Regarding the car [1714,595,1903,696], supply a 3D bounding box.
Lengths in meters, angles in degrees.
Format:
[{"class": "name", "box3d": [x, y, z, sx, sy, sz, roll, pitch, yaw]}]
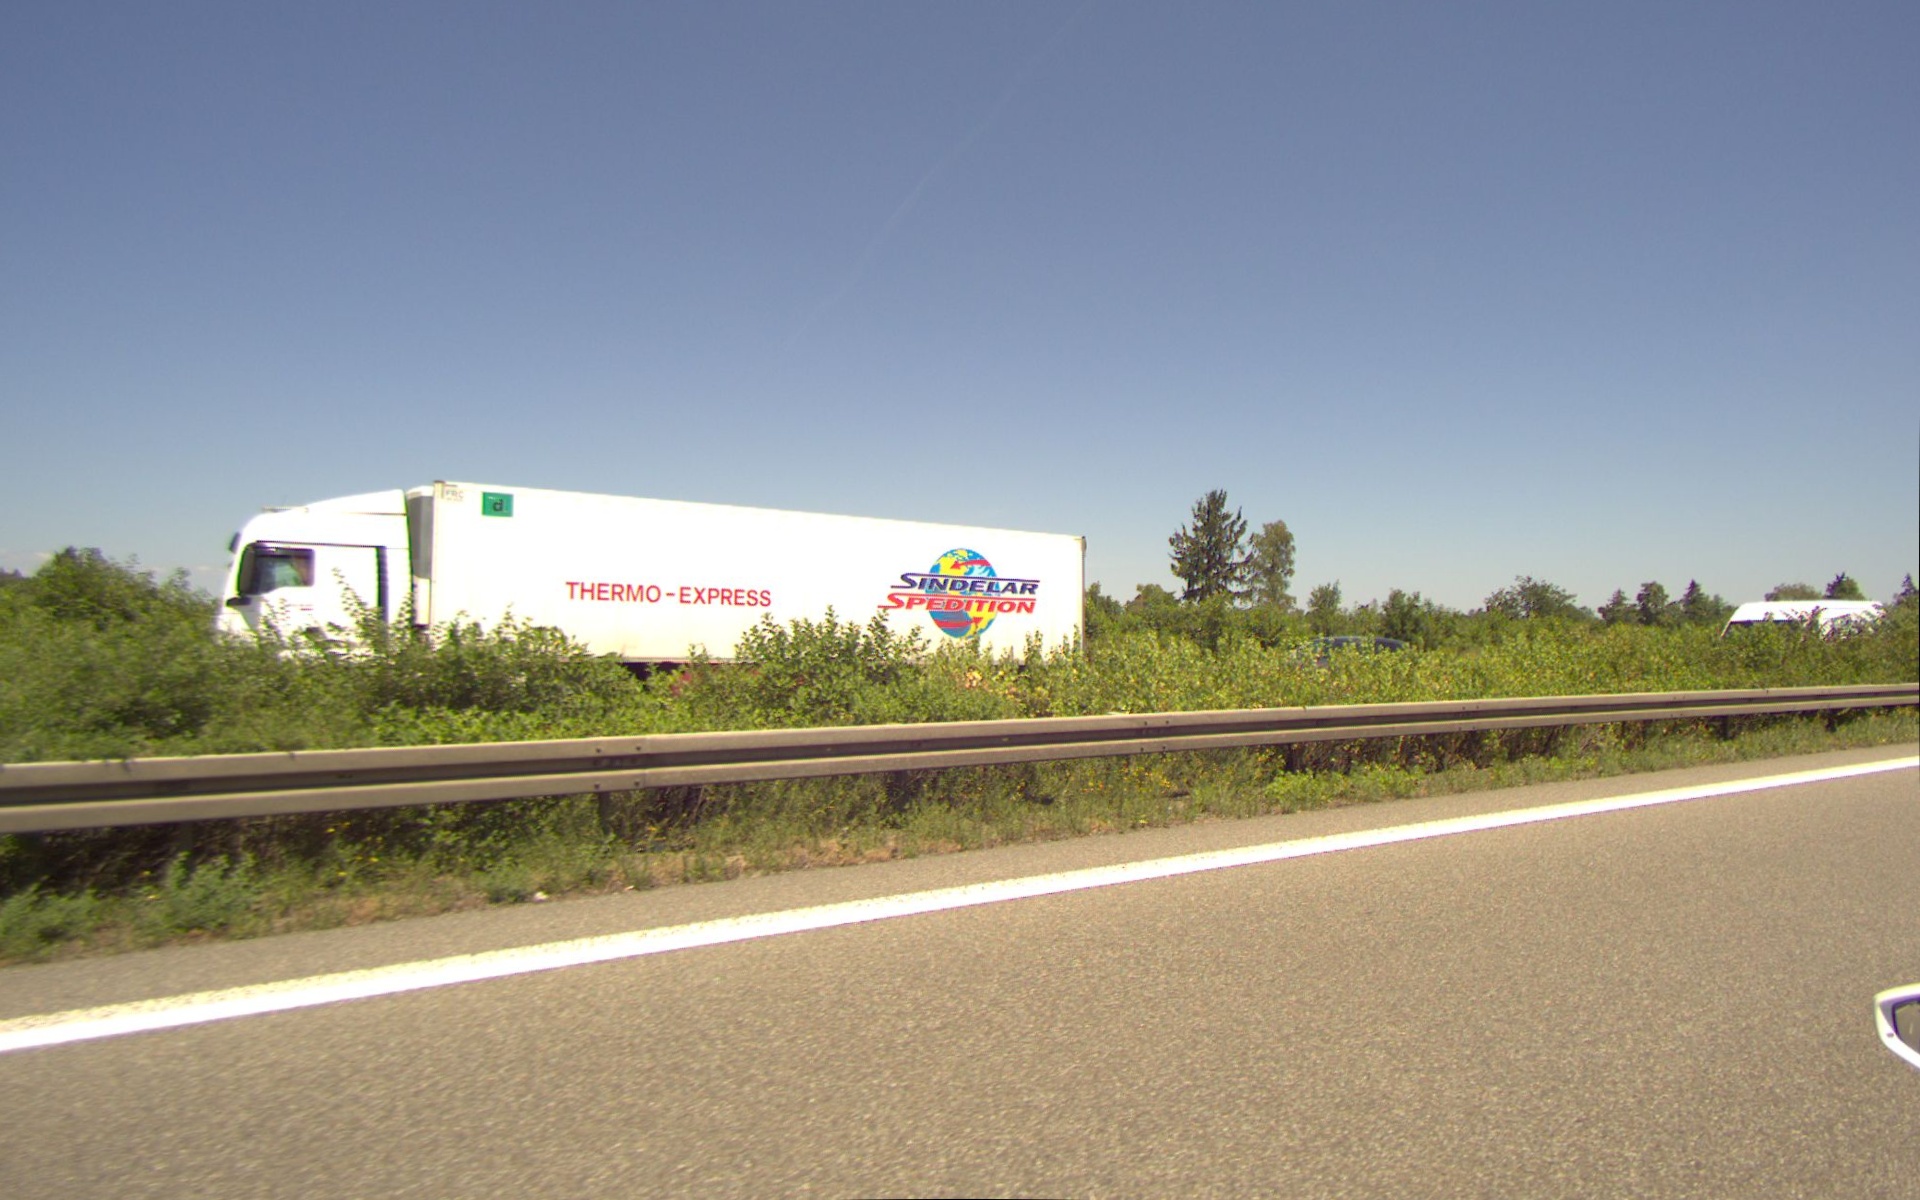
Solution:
[{"class": "car", "box3d": [23.538, 1.220, 27.773, 6.698, 2.534, 1.798, 2, 0, -30]}]

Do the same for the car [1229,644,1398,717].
[{"class": "car", "box3d": [7.661, 1.689, 21.730, 3.351, 1.363, 1.655, 2, 0, -30]}]

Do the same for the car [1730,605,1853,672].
[{"class": "car", "box3d": [36.801, 1.678, 44.430, 5.454, 2.744, 2.458, 2, 0, -30]}]

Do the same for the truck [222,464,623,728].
[{"class": "truck", "box3d": [-9.197, -0.003, 17.649, 5.684, 3.921, 2.919, 2, 0, -30]}]

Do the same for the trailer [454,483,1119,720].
[{"class": "trailer", "box3d": [-2.958, 0.184, 21.345, 13.748, 3.921, 2.919, 2, 0, -31]}]
